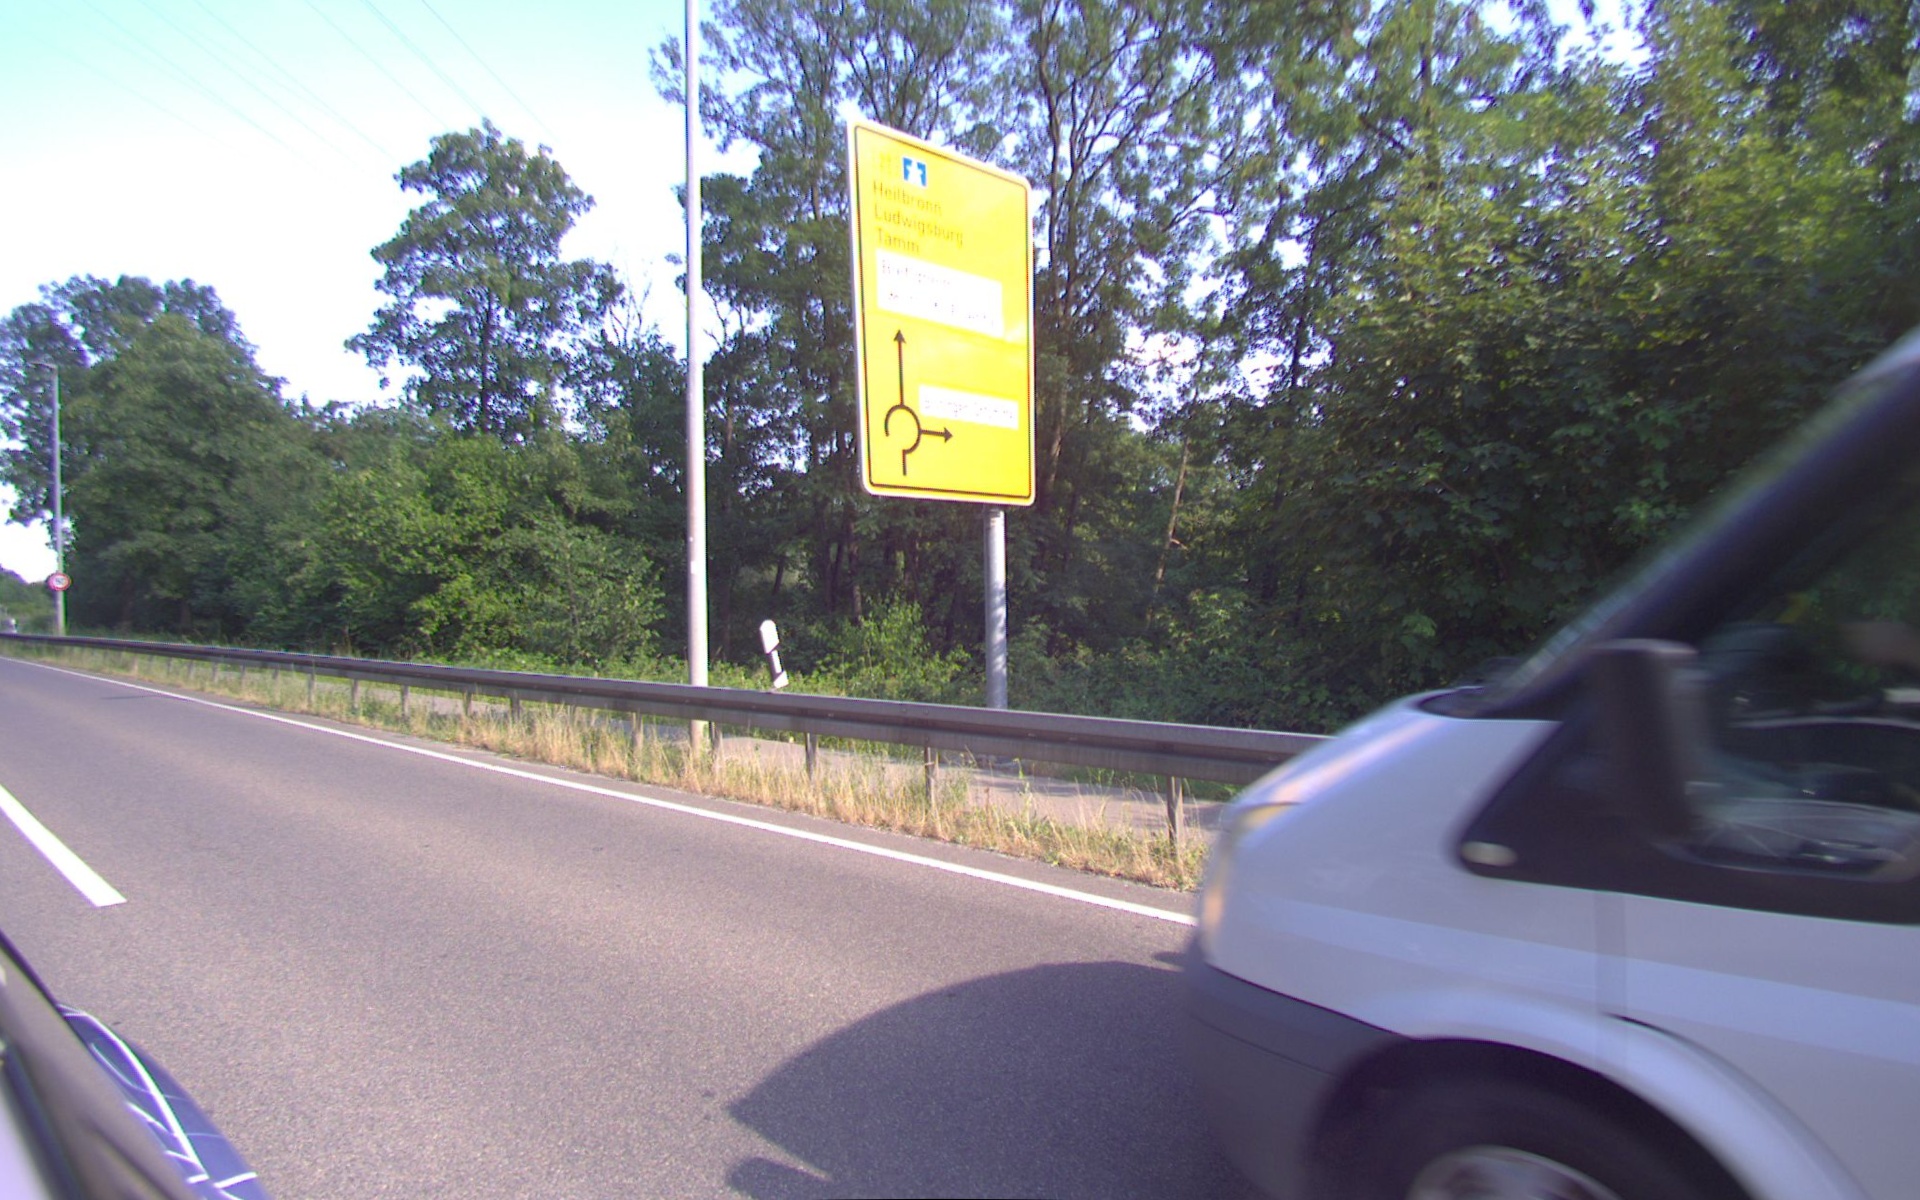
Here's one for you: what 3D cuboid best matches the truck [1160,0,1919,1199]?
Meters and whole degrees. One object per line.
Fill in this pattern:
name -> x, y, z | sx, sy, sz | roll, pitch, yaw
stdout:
truck -> 3.275, 0.164, 0.871 | 5.870, 2.403, 2.036 | -1, -1, 41
